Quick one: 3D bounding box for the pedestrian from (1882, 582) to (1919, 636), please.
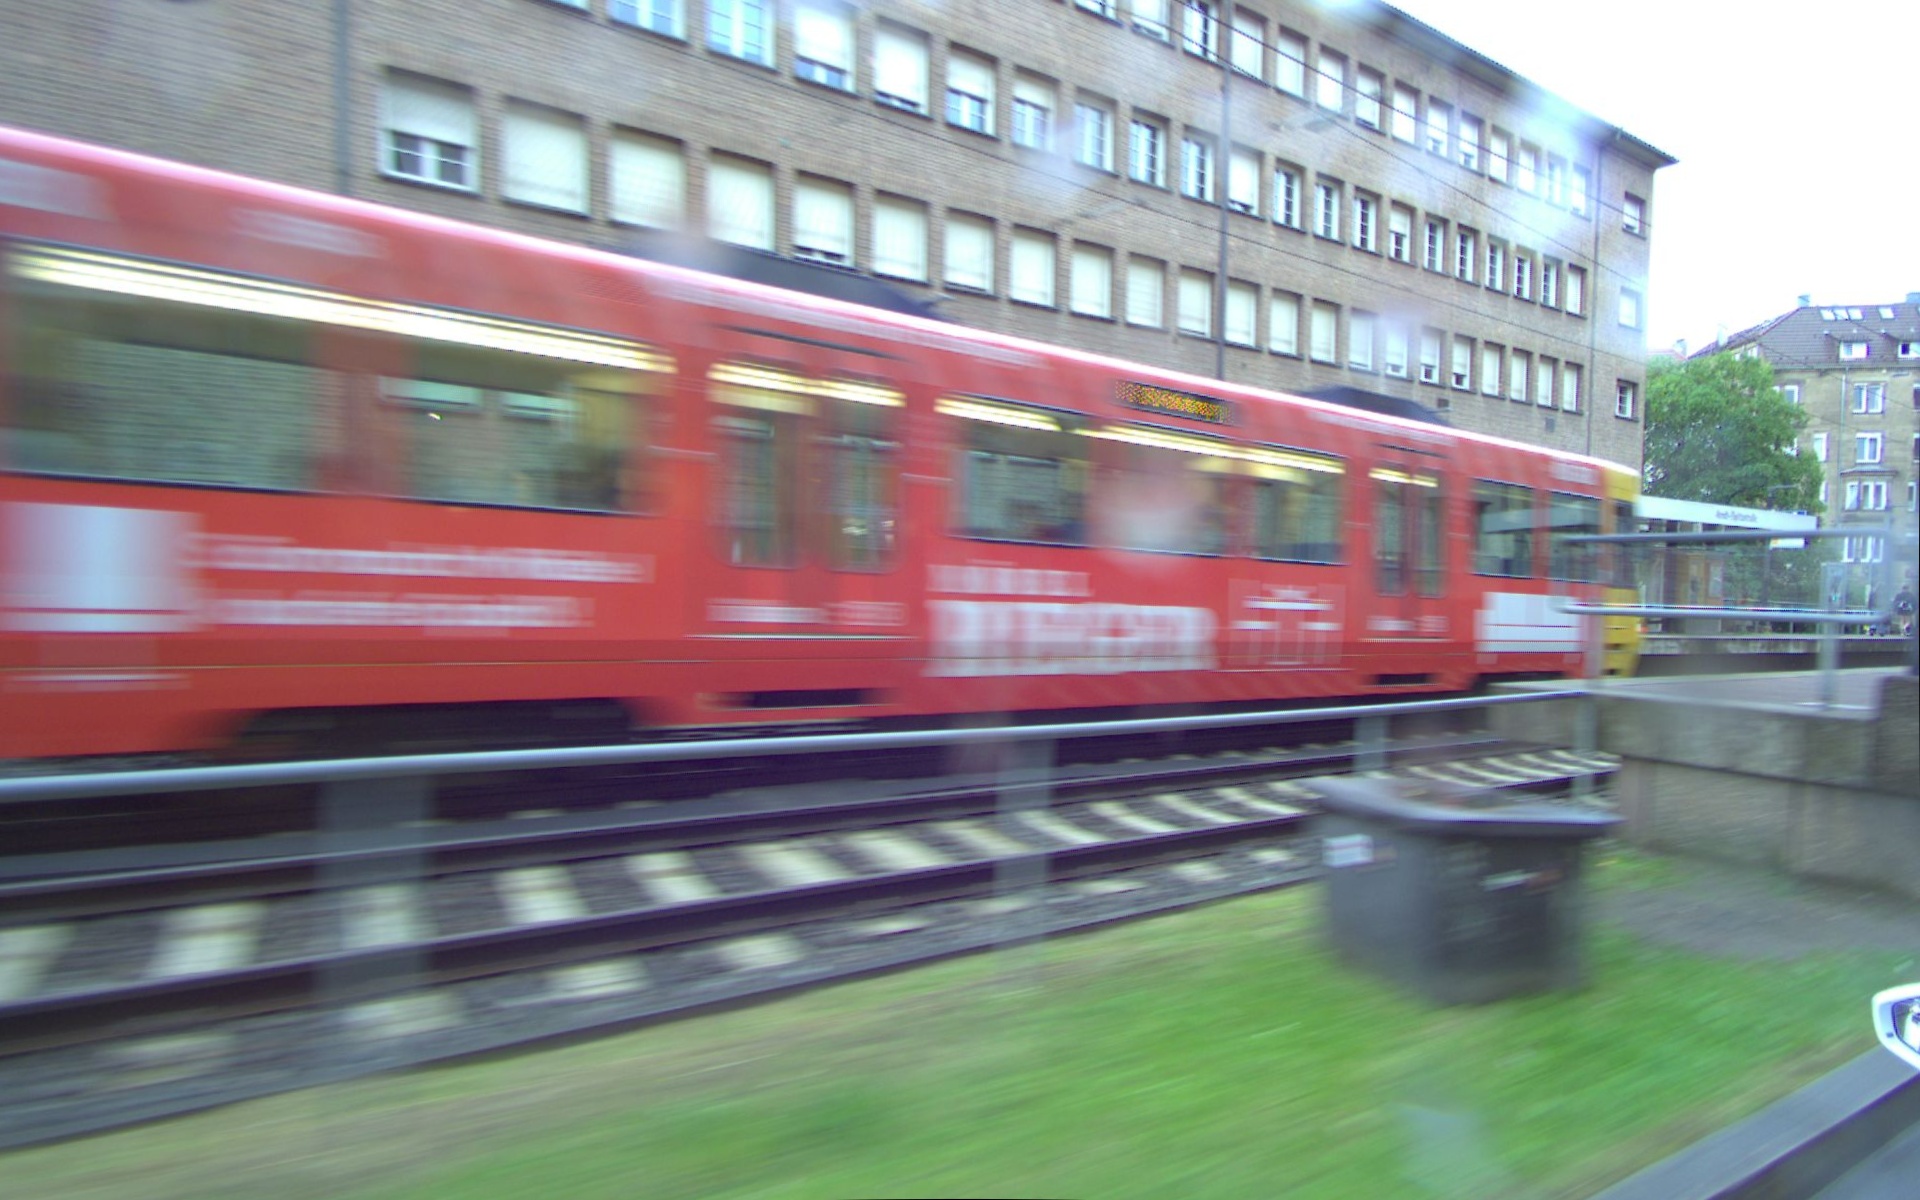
[{"bbox_3d":[30.355,0.296,32.332,0.873,1.719,0.739,2,0,-32],"label":"pedestrian"}]

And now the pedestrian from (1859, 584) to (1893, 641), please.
[{"bbox_3d":[28.378,0.387,31.121,0.682,1.721,0.660,2,-1,-36],"label":"pedestrian"}]

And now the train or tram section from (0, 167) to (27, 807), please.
[{"bbox_3d":[-13.516,-0.870,0.311,19.093,3.973,2.698,2,0,-34],"label":"train or tram section"}]

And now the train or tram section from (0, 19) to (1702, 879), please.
[{"bbox_3d":[1.994,-0.511,10.533,19.651,3.973,2.698,2,0,-34],"label":"train or tram section"}]

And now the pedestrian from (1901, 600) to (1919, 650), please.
[{"bbox_3d":[32.150,0.844,33.671,0.634,1.669,0.739,2,-2,-32],"label":"pedestrian"}]
